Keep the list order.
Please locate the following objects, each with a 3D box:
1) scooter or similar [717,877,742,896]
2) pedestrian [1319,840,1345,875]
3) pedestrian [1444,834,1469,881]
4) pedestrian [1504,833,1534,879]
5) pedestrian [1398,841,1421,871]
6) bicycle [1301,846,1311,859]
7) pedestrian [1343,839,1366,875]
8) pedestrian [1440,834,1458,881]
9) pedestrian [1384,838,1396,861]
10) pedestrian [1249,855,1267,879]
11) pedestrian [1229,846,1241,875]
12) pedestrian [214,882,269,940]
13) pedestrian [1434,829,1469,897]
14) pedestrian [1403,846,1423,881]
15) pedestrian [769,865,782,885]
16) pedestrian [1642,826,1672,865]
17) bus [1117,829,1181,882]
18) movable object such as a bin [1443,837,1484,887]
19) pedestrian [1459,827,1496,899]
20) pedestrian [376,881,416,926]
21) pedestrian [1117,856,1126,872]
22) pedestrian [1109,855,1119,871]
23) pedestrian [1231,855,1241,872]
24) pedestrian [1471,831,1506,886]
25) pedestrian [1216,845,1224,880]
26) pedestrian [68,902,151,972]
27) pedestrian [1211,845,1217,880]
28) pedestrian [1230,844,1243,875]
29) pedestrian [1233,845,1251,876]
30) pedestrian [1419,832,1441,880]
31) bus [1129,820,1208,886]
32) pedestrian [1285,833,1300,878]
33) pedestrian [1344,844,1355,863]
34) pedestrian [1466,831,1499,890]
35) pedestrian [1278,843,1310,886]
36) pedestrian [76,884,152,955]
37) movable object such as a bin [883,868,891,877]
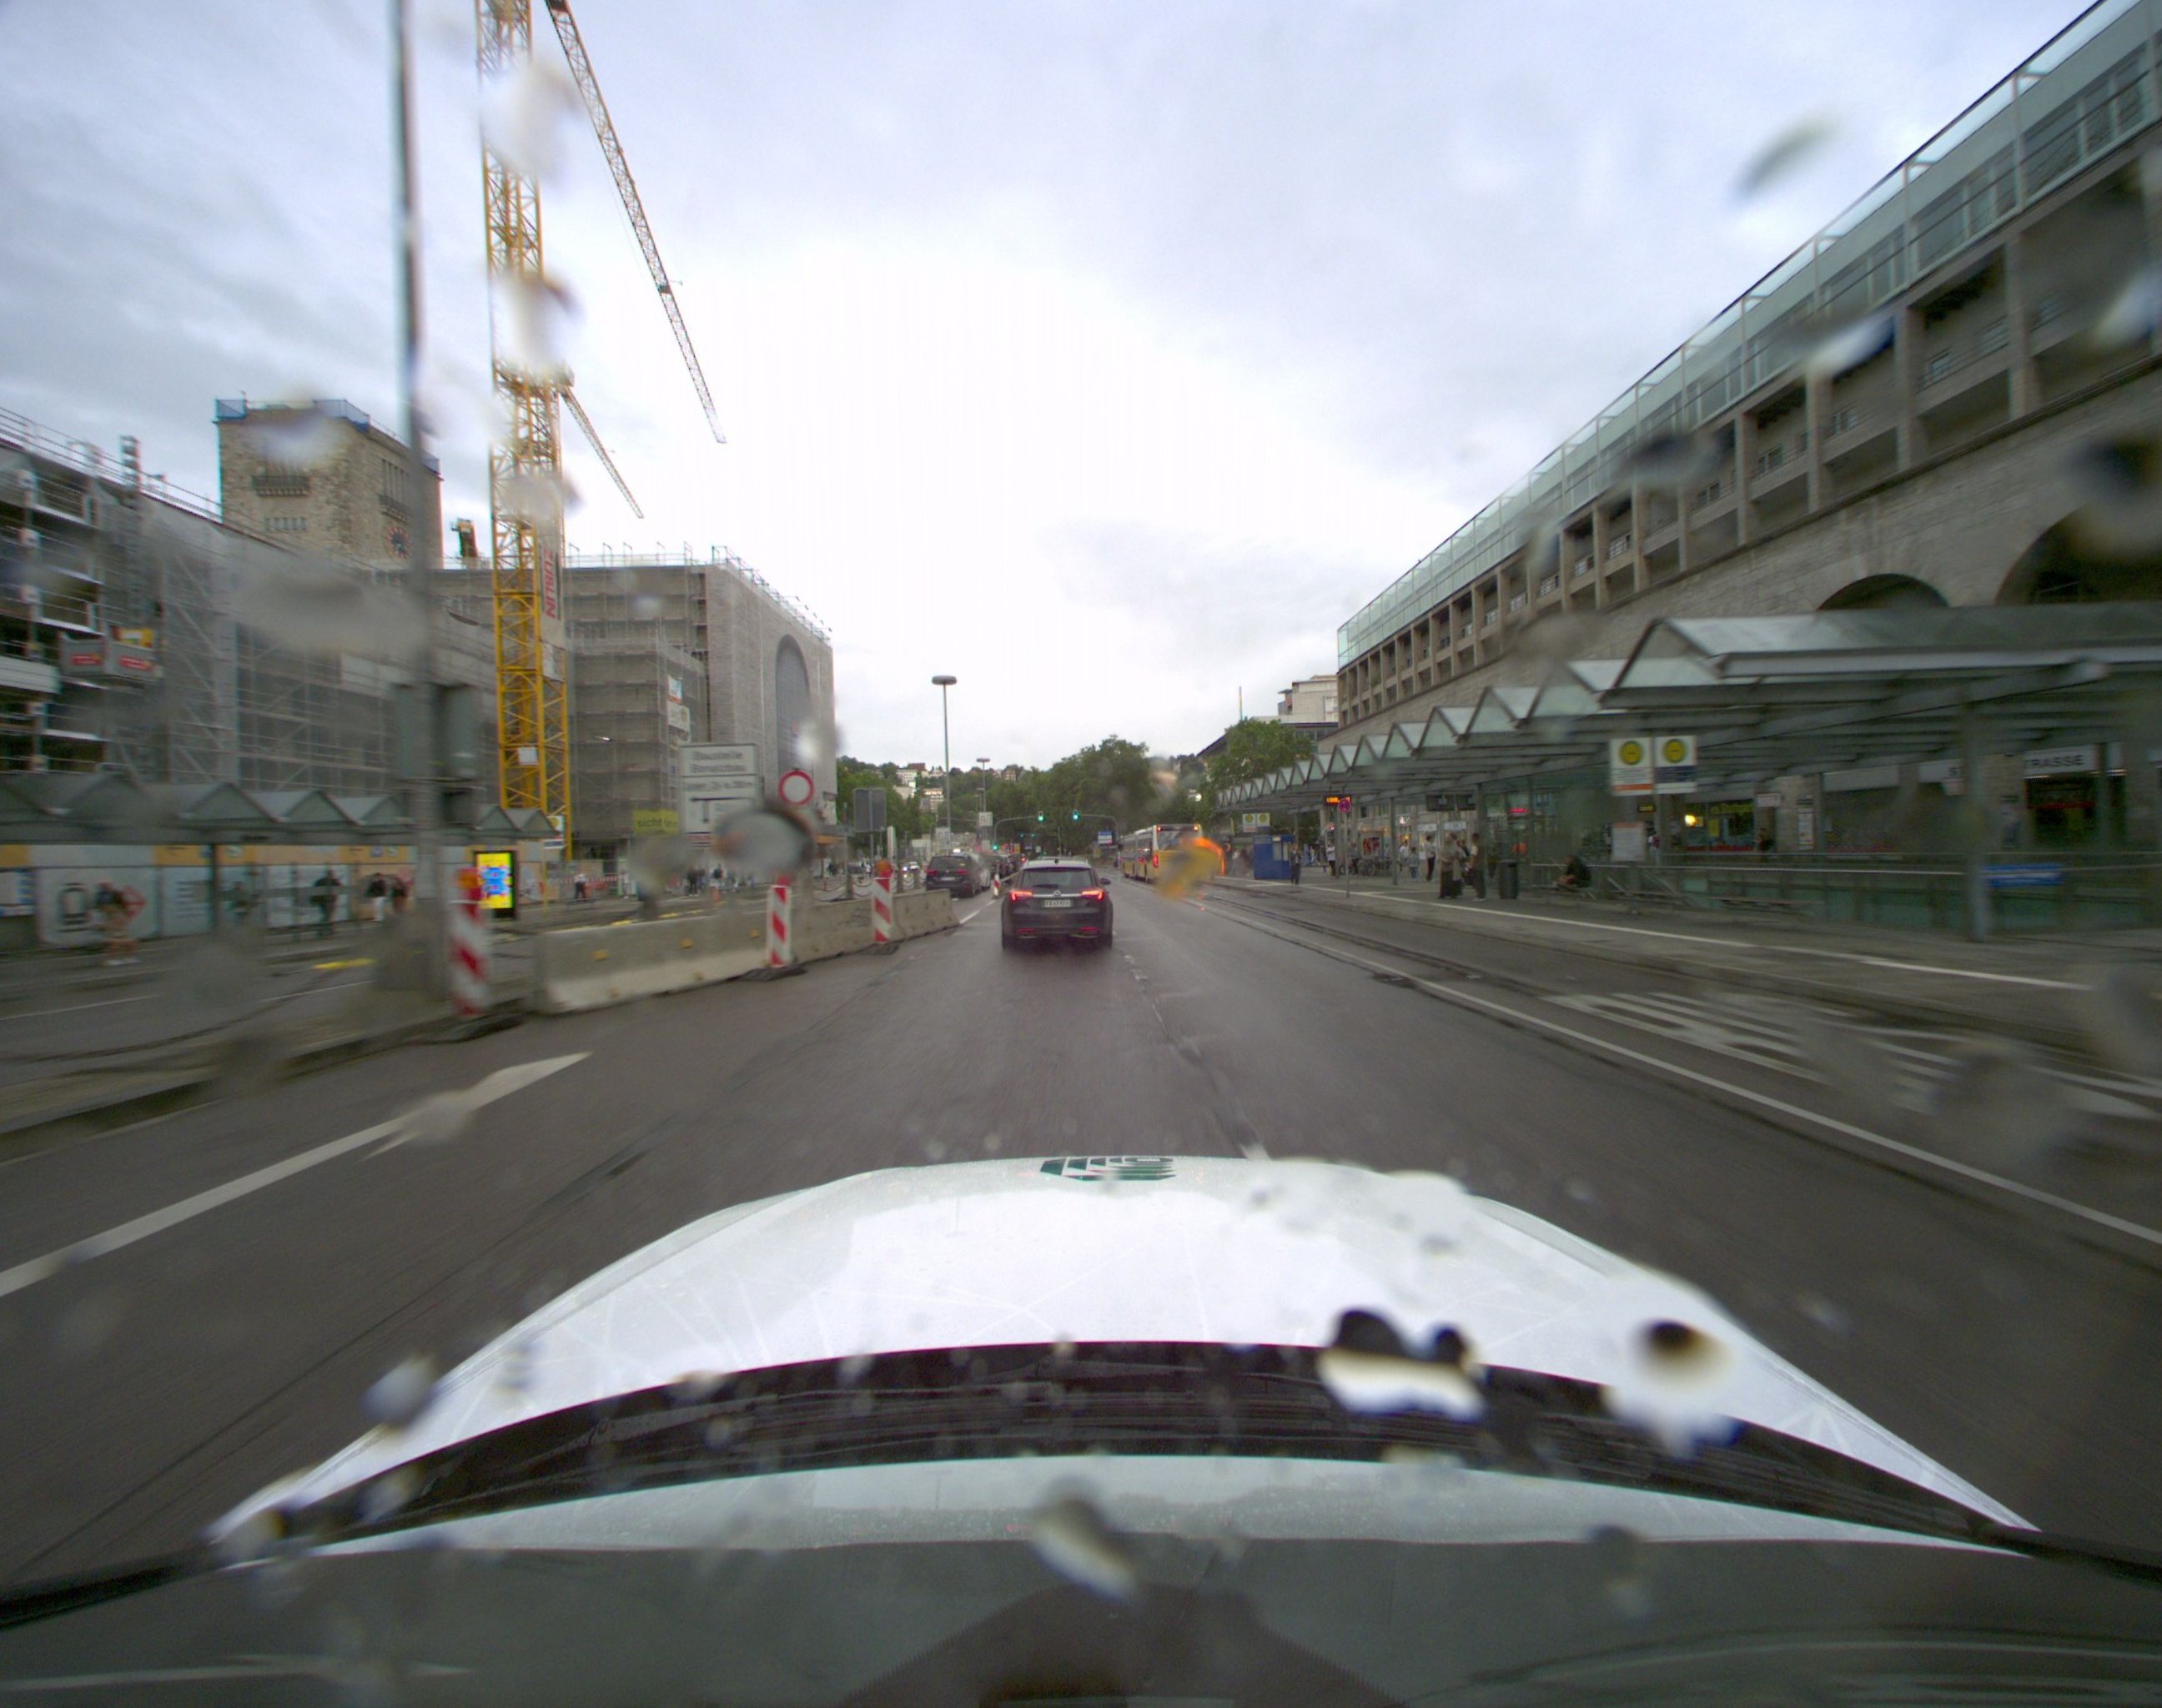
[{"bbox_3d":[-20.497,1.886,47.525,0.454,1.066,1.248,-2,0,33],"label":"scooter or similar"},{"bbox_3d":[13.023,0.195,42.277,0.791,1.805,0.983,-2,-1,-30],"label":"pedestrian"},{"bbox_3d":[14.575,0.136,31.616,0.609,1.831,0.587,-1,0,-31],"label":"pedestrian"},{"bbox_3d":[17.674,0.088,32.867,0.764,1.831,0.745,-1,0,-31],"label":"pedestrian"},{"bbox_3d":[18.828,0.124,46.680,0.975,1.695,0.863,-2,0,39],"label":"pedestrian"},{"bbox_3d":[28.119,-0.185,101.646,0.789,1.562,2.134,-2,0,5],"label":"bicycle"},{"bbox_3d":[13.097,0.153,39.017,0.746,1.695,0.902,-1,0,1],"label":"pedestrian"},{"bbox_3d":[14.776,0.136,32.692,0.590,1.874,0.594,-2,0,28],"label":"pedestrian"},{"bbox_3d":[25.497,-0.365,67.210,0.650,1.792,0.789,-2,-1,2],"label":"pedestrian"},{"bbox_3d":[13.712,1.001,63.121,0.996,1.792,0.781,-2,-1,-31],"label":"pedestrian"},{"bbox_3d":[9.535,0.403,50.488,0.607,1.723,0.592,-1,0,2],"label":"pedestrian"},{"bbox_3d":[-24.240,1.646,23.526,0.801,1.608,0.701,-1,0,-3],"label":"pedestrian"},{"bbox_3d":[10.265,0.253,22.567,0.673,1.836,0.574,-1,0,0],"label":"pedestrian"},{"bbox_3d":[13.607,0.390,33.373,0.551,1.377,0.507,-1,0,-7],"label":"pedestrian"},{"bbox_3d":[-25.307,1.743,67.517,0.674,1.613,0.838,-1,0,0],"label":"pedestrian"},{"bbox_3d":[25.695,-0.358,36.316,0.757,1.710,0.752,-1,0,-2],"label":"pedestrian"},{"bbox_3d":[4.372,0.139,54.504,3.106,3.205,9.233,-1,-1,-2],"label":"bus"},{"bbox_3d":[12.854,0.269,27.374,0.666,1.652,1.040,-1,0,-25],"label":"movable object such as a bin"},{"bbox_3d":[10.463,0.235,21.515,0.625,1.836,0.641,-1,0,0],"label":"pedestrian"},{"bbox_3d":[-24.575,1.777,29.223,0.802,1.547,0.700,-1,0,-7],"label":"pedestrian"},{"bbox_3d":[4.627,1.100,93.737,0.747,1.805,0.705,-2,-1,-18],"label":"pedestrian"},{"bbox_3d":[3.929,1.078,96.649,0.788,1.838,0.945,-2,-1,-17],"label":"pedestrian"},{"bbox_3d":[11.197,0.689,58.757,0.512,1.232,0.770,-2,-1,1],"label":"pedestrian"},{"bbox_3d":[14.072,0.141,28.117,0.749,1.848,0.760,-1,0,-5],"label":"pedestrian"},{"bbox_3d":[7.454,0.448,43.655,0.345,1.836,0.533,-1,0,2],"label":"pedestrian"},{"bbox_3d":[-19.987,1.694,16.771,0.698,1.326,0.804,-1,0,-3],"label":"pedestrian"},{"bbox_3d":[7.126,0.462,43.615,0.242,1.836,0.512,-1,0,2],"label":"pedestrian"},{"bbox_3d":[9.482,0.329,49.690,0.689,1.836,0.558,-1,0,14],"label":"pedestrian"},{"bbox_3d":[9.632,0.397,48.594,0.977,1.836,0.838,-1,0,14],"label":"pedestrian"},{"bbox_3d":[13.937,0.082,32.506,0.603,1.860,0.626,-1,0,7],"label":"pedestrian"},{"bbox_3d":[4.665,0.002,45.347,3.133,3.248,9.128,-1,-1,-2],"label":"bus"},{"bbox_3d":[10.738,0.075,41.332,0.588,2.215,0.587,-1,0,0],"label":"pedestrian"},{"bbox_3d":[25.423,-0.061,77.098,0.729,1.792,0.788,-2,-1,-3],"label":"pedestrian"},{"bbox_3d":[12.668,0.200,25.733,0.745,1.836,0.765,-1,0,14],"label":"pedestrian"},{"bbox_3d":[8.458,0.413,32.309,0.762,1.690,0.991,-1,0,-23],"label":"pedestrian"},{"bbox_3d":[-24.327,1.641,20.511,0.876,1.700,0.836,-1,0,-3],"label":"pedestrian"},{"bbox_3d":[-22.659,2.174,95.034,0.757,0.970,0.720,-2,0,-4],"label":"movable object such as a bin"}]
